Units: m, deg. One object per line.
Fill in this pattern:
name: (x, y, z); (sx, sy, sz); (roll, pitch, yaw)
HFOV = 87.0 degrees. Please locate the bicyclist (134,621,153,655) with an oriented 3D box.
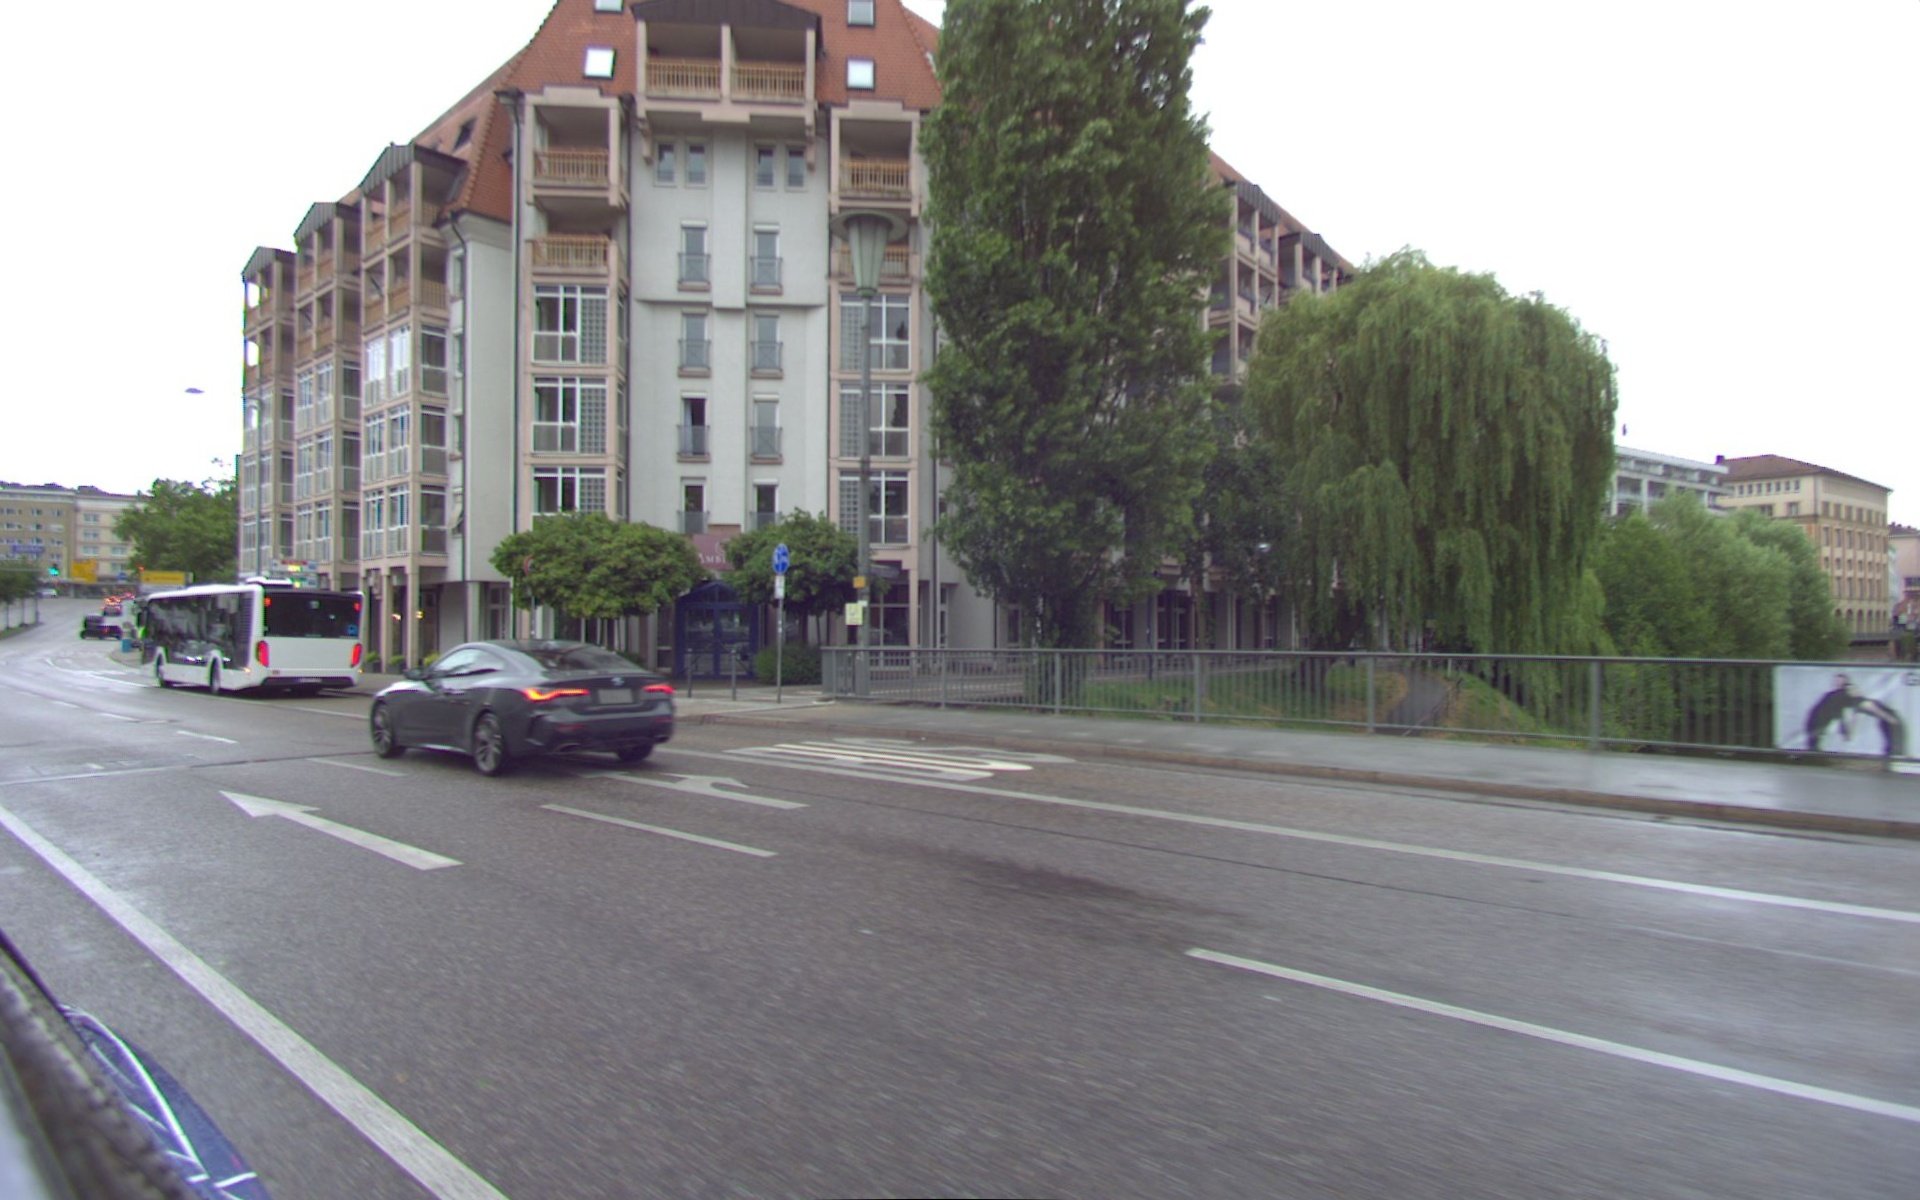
bicyclist: (-45.690, 2.114, 56.630); (0.781, 1.904, 0.955); (1, -2, -40)

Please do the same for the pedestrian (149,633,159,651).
pedestrian: (-52.409, 2.746, 65.800); (0.502, 1.159, 0.463); (-2, -3, 44)

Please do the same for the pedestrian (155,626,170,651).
pedestrian: (-51.893, 2.497, 65.831); (0.565, 1.571, 0.706); (-2, -2, 44)

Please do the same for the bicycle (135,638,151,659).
bicycle: (-45.868, 2.705, 56.819); (0.642, 1.119, 2.061); (1, -2, -40)

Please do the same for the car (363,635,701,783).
car: (-5.006, 1.091, 11.544); (4.403, 1.335, 1.773); (-1, -2, 40)

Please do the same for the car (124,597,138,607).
car: (-136.674, 0.289, 166.862); (1.691, 1.490, 3.966); (3, -2, -38)

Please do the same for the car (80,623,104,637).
car: (-98.401, 3.389, 114.756); (1.737, 1.431, 4.100); (4, -2, -44)

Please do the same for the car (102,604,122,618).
car: (-113.592, 1.452, 135.553); (1.804, 1.749, 4.319); (1, -1, -38)

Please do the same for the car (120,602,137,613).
car: (-120.013, 1.148, 146.100); (1.650, 1.527, 3.651); (2, -2, -37)

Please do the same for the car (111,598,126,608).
car: (-129.373, 0.490, 155.637); (1.602, 1.567, 3.666); (1, -2, -39)

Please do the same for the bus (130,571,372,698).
bus: (-21.140, 1.177, 29.695); (12.227, 3.099, 2.716); (-3, -6, 40)
